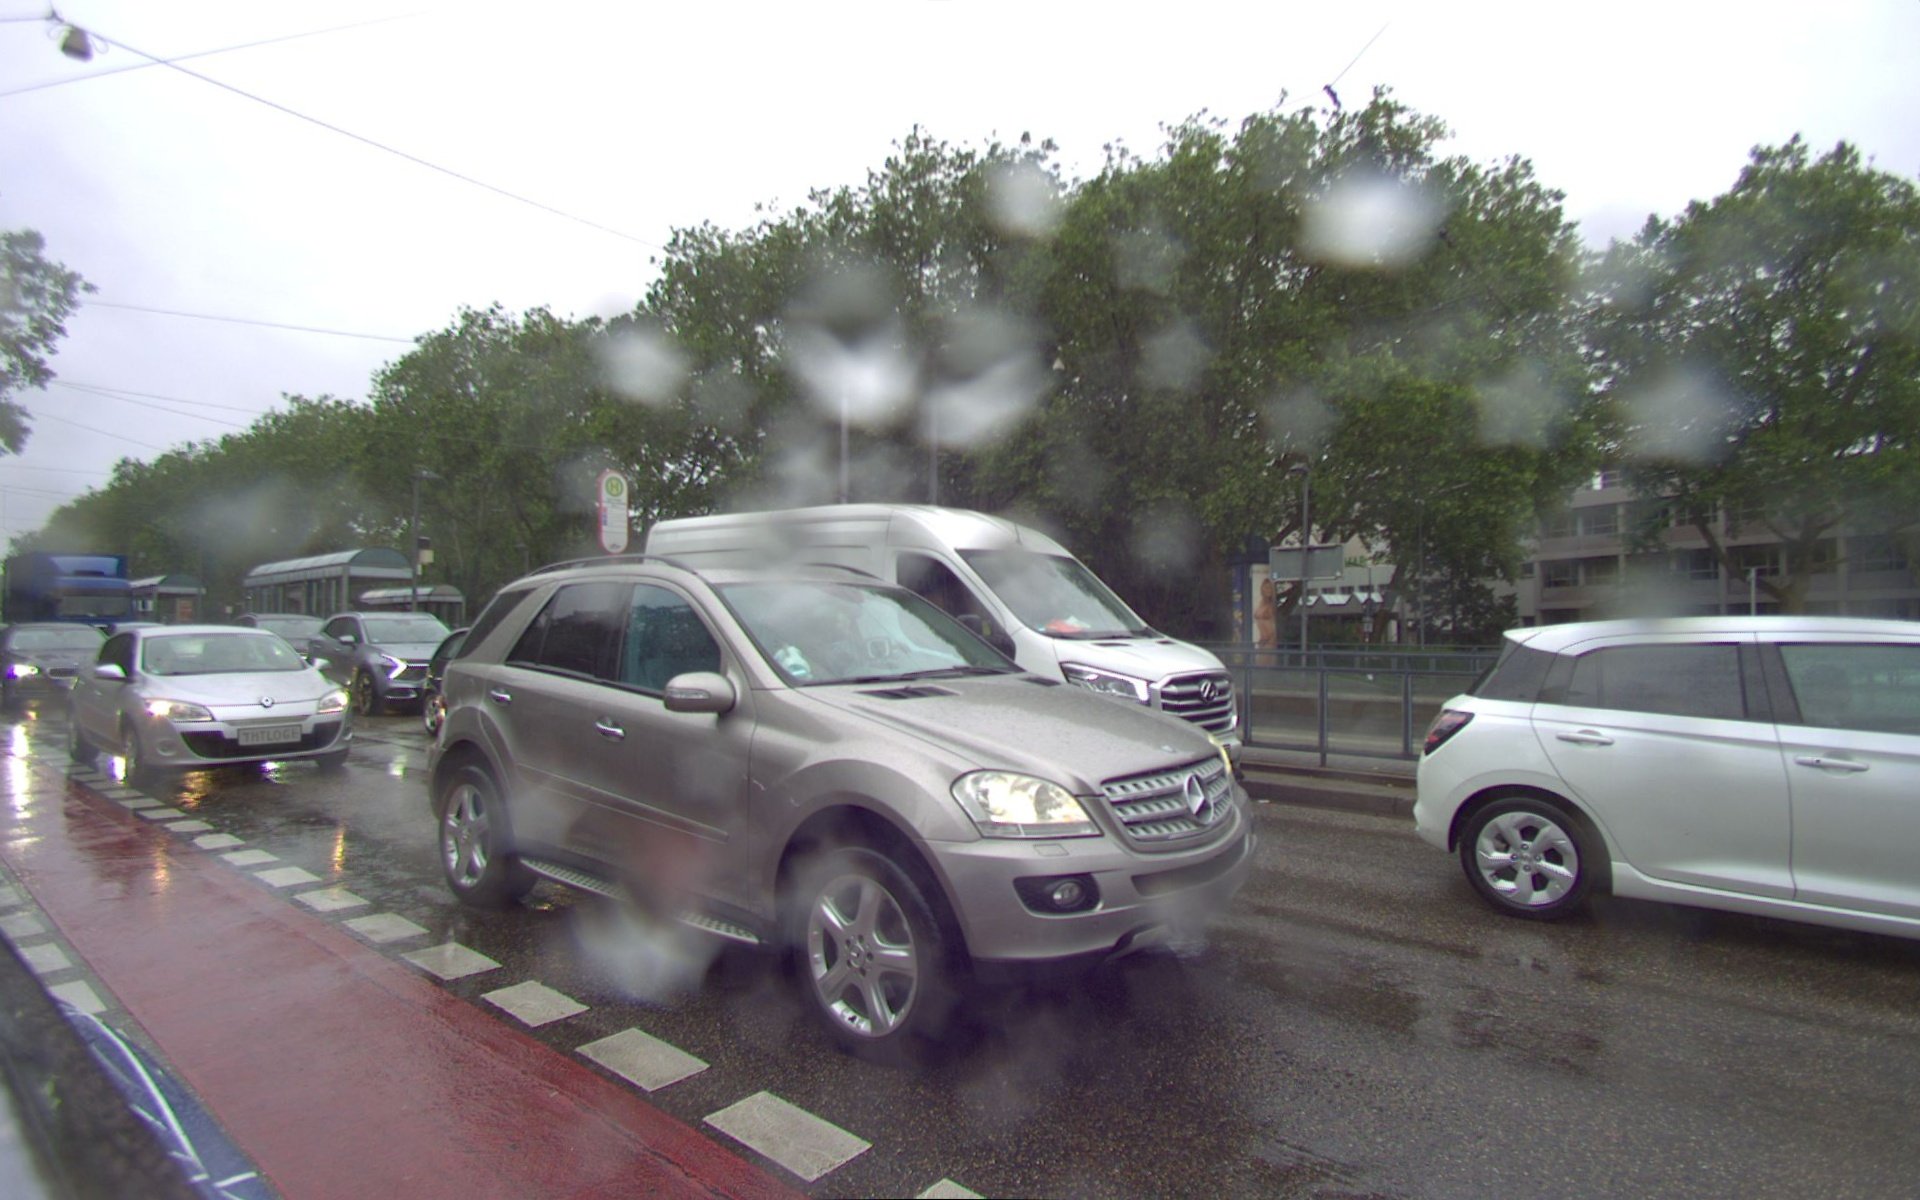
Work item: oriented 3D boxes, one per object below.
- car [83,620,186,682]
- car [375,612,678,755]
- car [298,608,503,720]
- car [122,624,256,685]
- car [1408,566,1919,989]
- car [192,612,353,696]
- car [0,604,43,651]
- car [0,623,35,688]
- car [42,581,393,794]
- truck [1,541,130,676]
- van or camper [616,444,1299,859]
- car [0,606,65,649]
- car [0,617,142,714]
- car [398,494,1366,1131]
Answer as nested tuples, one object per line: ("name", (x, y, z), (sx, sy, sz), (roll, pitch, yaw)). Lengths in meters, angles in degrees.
("car", (-24.414, 1.491, 29.885), (4.191, 1.659, 1.887), (-3, -2, 44))
("car", (-5.710, 0.987, 13.050), (4.553, 1.525, 1.763), (-3, -2, 41))
("car", (-9.523, 1.027, 17.084), (4.247, 1.647, 1.823), (-3, -2, 43))
("car", (-19.815, 1.379, 25.954), (4.187, 1.418, 1.889), (-3, -2, 40))
("car", (4.374, 0.677, 4.372), (4.074, 1.599, 1.782), (-3, -3, 43))
("car", (-15.250, 1.169, 22.370), (4.187, 1.659, 1.889), (-3, -2, 40))
("car", (-46.387, 1.327, 49.122), (5.453, 2.166, 2.313), (-1, 0, 43))
("car", (-26.029, 1.484, 26.854), (4.191, 1.659, 1.887), (-3, -2, 43))
("car", (-7.803, 0.805, 10.492), (4.263, 1.755, 1.951), (-3, -2, 39))
("truck", (-31.789, 0.433, 35.846), (8.349, 4.309, 2.386), (-3, -2, 41))
("van or camper", (-0.406, 0.414, 8.825), (5.965, 2.490, 2.153), (-3, -2, 40))
("car", (-40.673, 1.167, 44.128), (3.998, 1.728, 1.973), (-1, 0, 41))
("car", (-16.783, 1.169, 18.771), (4.667, 1.561, 1.887), (-3, -2, 43))
("car", (-0.759, 0.637, 4.890), (4.676, 1.659, 1.889), (-3, -2, 40))
